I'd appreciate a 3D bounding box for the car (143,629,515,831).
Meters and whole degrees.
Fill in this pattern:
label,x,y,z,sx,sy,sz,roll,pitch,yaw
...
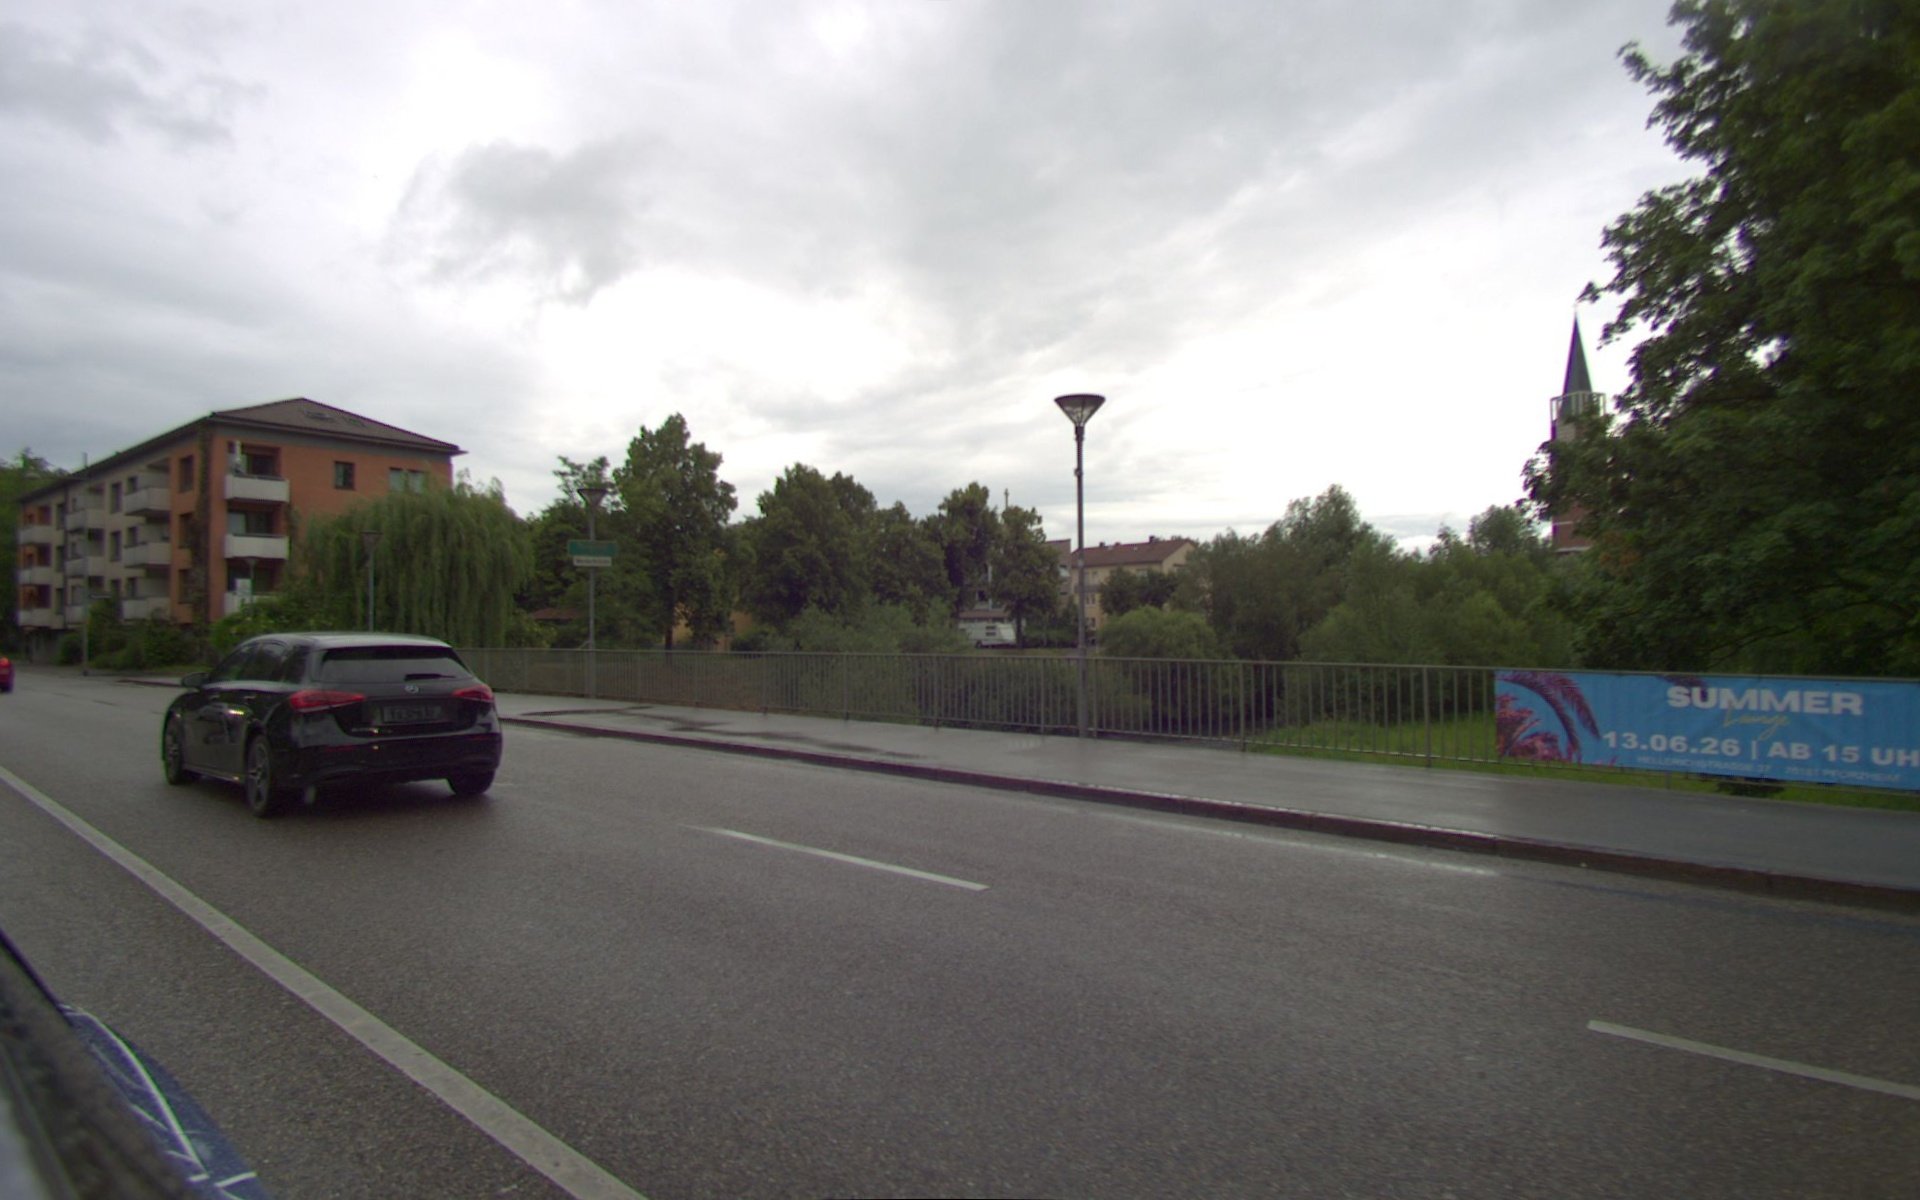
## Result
label,x,y,z,sx,sy,sz,roll,pitch,yaw
car,-5.832,1.005,9.159,4.091,1.427,1.691,-2,-4,41

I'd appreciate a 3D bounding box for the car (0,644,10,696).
label,x,y,z,sx,sy,sz,roll,pitch,yaw
car,-27.971,1.948,28.186,4.216,1.413,1.763,-3,-4,41
